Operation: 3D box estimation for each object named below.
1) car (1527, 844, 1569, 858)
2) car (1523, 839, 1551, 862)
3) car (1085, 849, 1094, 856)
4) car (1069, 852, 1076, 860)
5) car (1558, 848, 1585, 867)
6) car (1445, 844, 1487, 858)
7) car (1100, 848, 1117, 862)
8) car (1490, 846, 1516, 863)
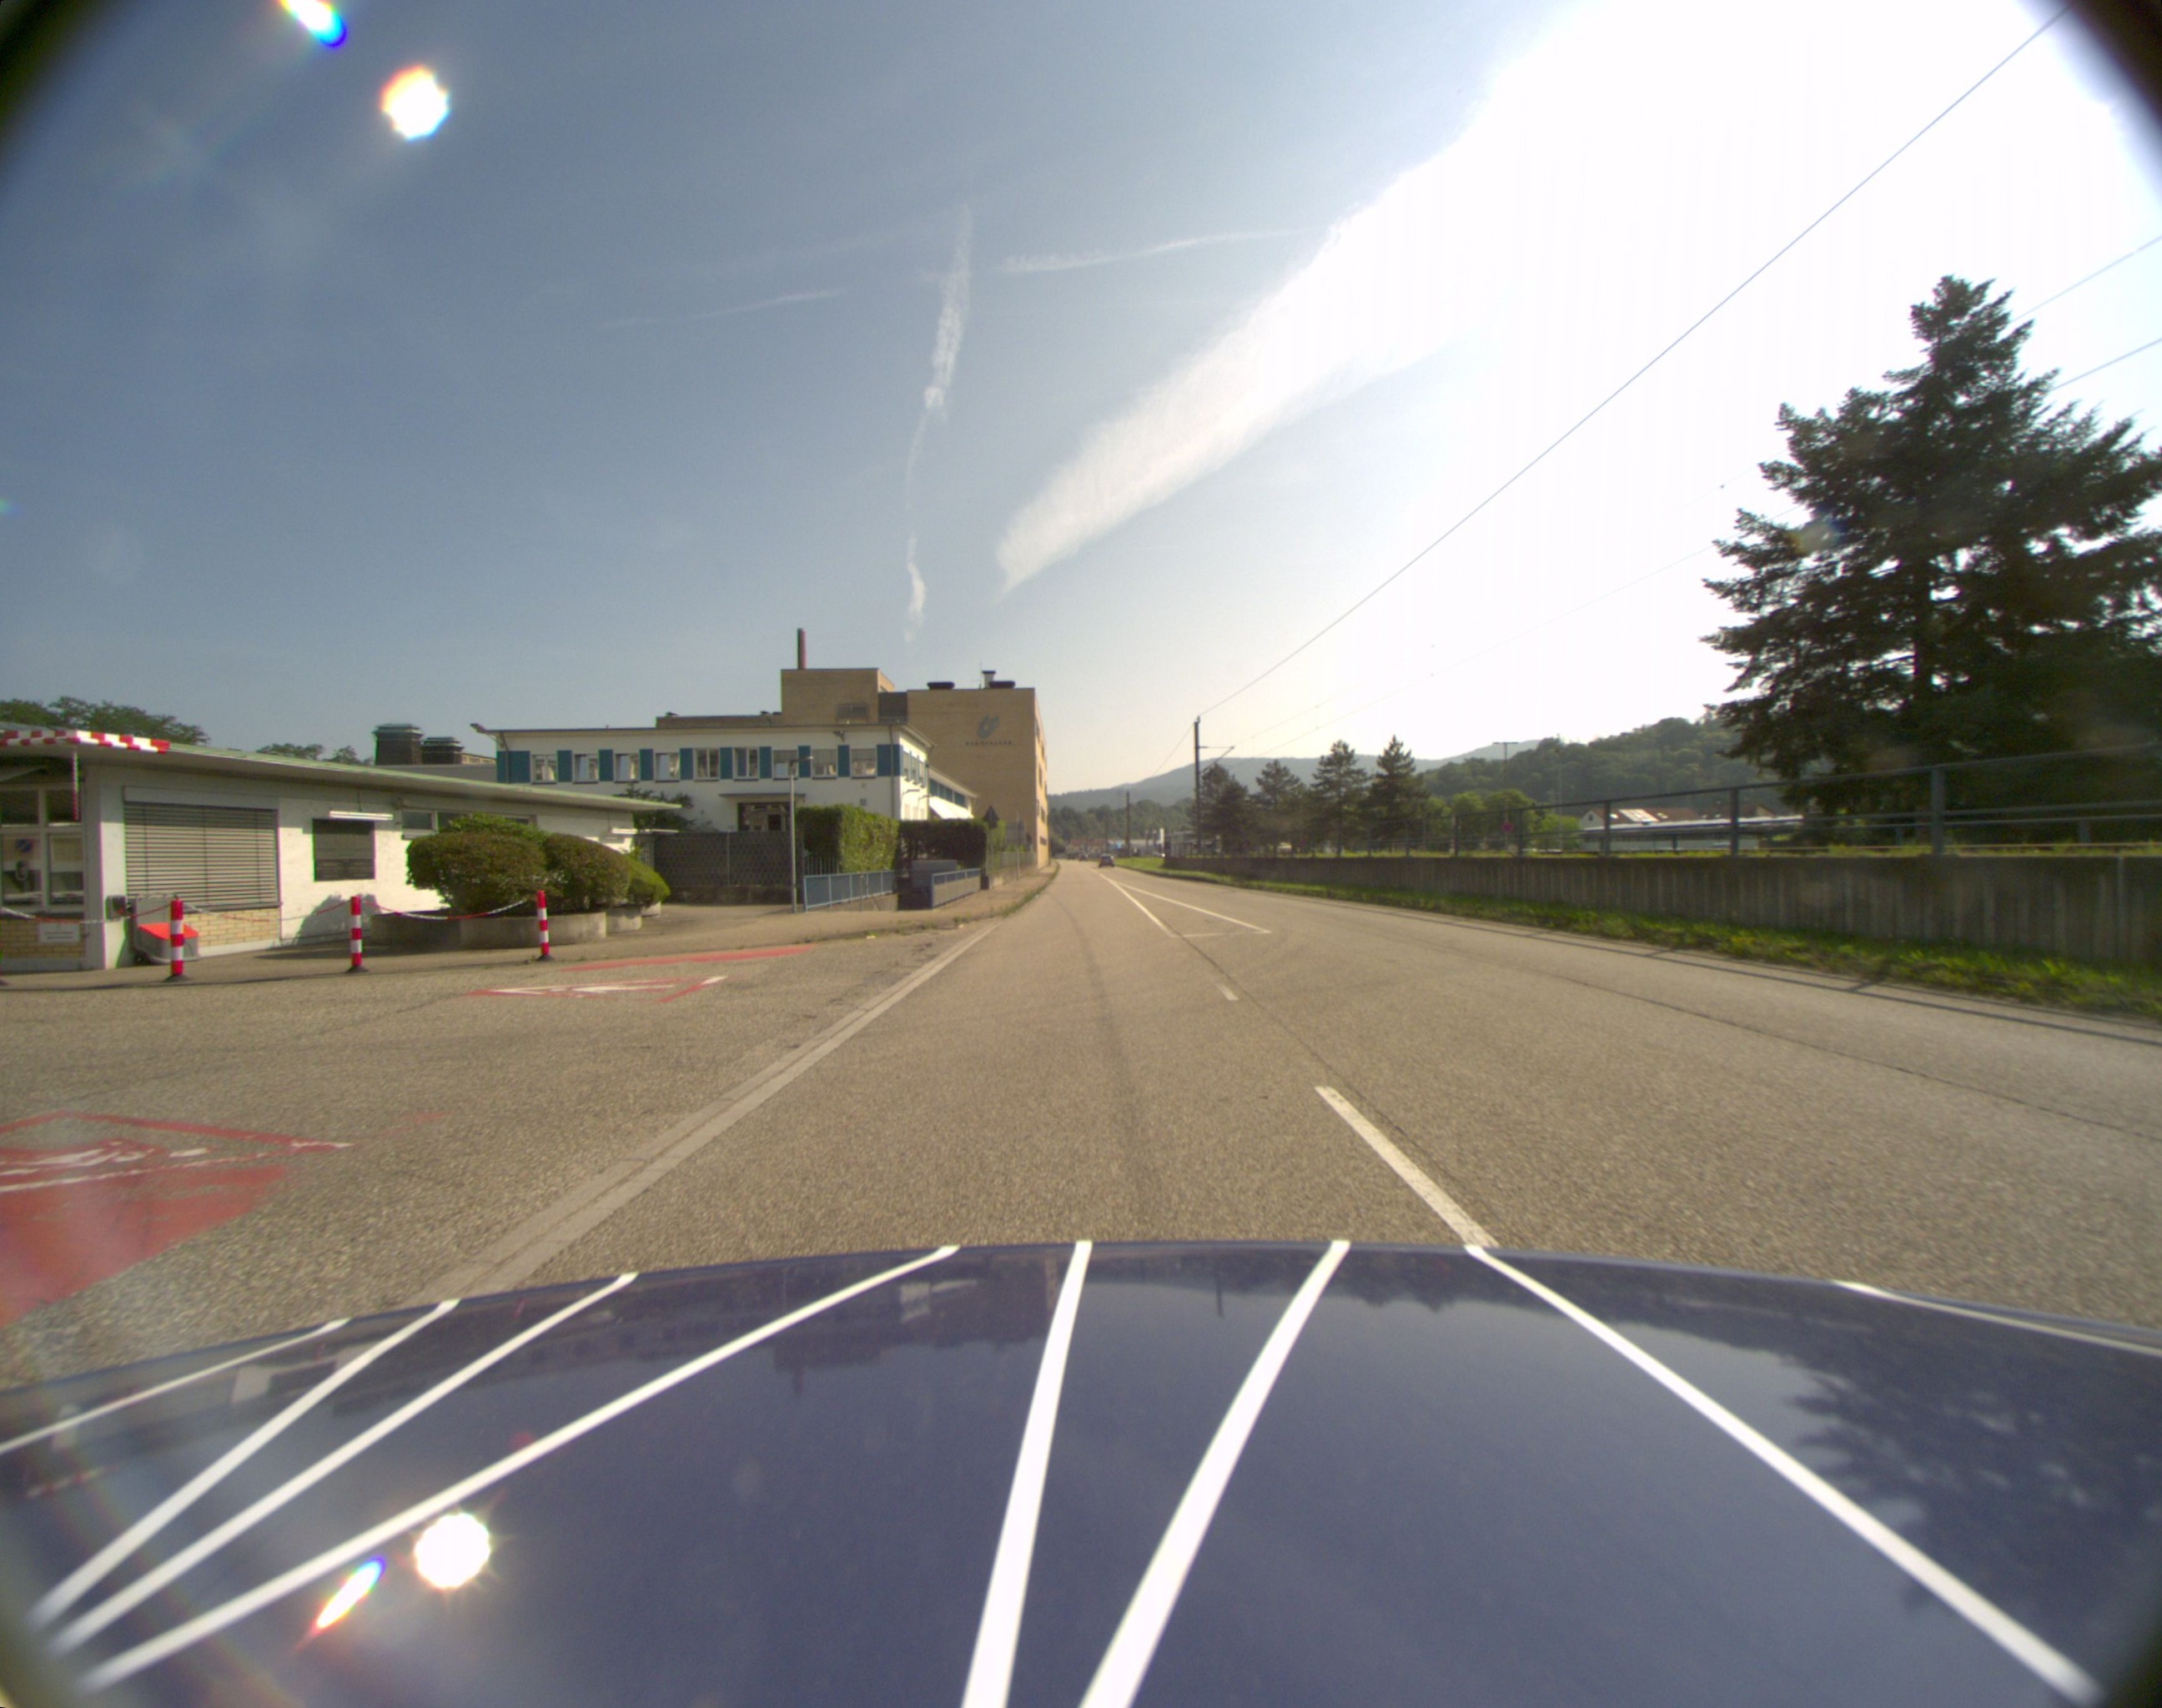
[{"bbox_3d":[46.149,-0.295,75.127,3.527,1.317,1.460,0,1,32],"label":"car"},{"bbox_3d":[35.269,-0.272,58.743,1.641,1.678,3.813,0,1,35],"label":"car"},{"bbox_3d":[1.743,-0.353,158.299,1.736,1.517,4.091,-2,0,-1],"label":"car"},{"bbox_3d":[-2.330,0.493,206.397,1.763,2.066,4.806,-3,0,-3],"label":"car"},{"bbox_3d":[35.230,0.217,54.558,1.453,1.317,3.544,0,1,36],"label":"car"},{"bbox_3d":[38.087,-0.302,75.166,3.527,1.317,1.460,0,1,31],"label":"car"},{"bbox_3d":[3.238,0.103,90.545,1.746,1.498,4.198,-2,1,-2],"label":"car"},{"bbox_3d":[34.557,0.045,62.142,1.453,1.317,3.544,0,1,36],"label":"car"}]
